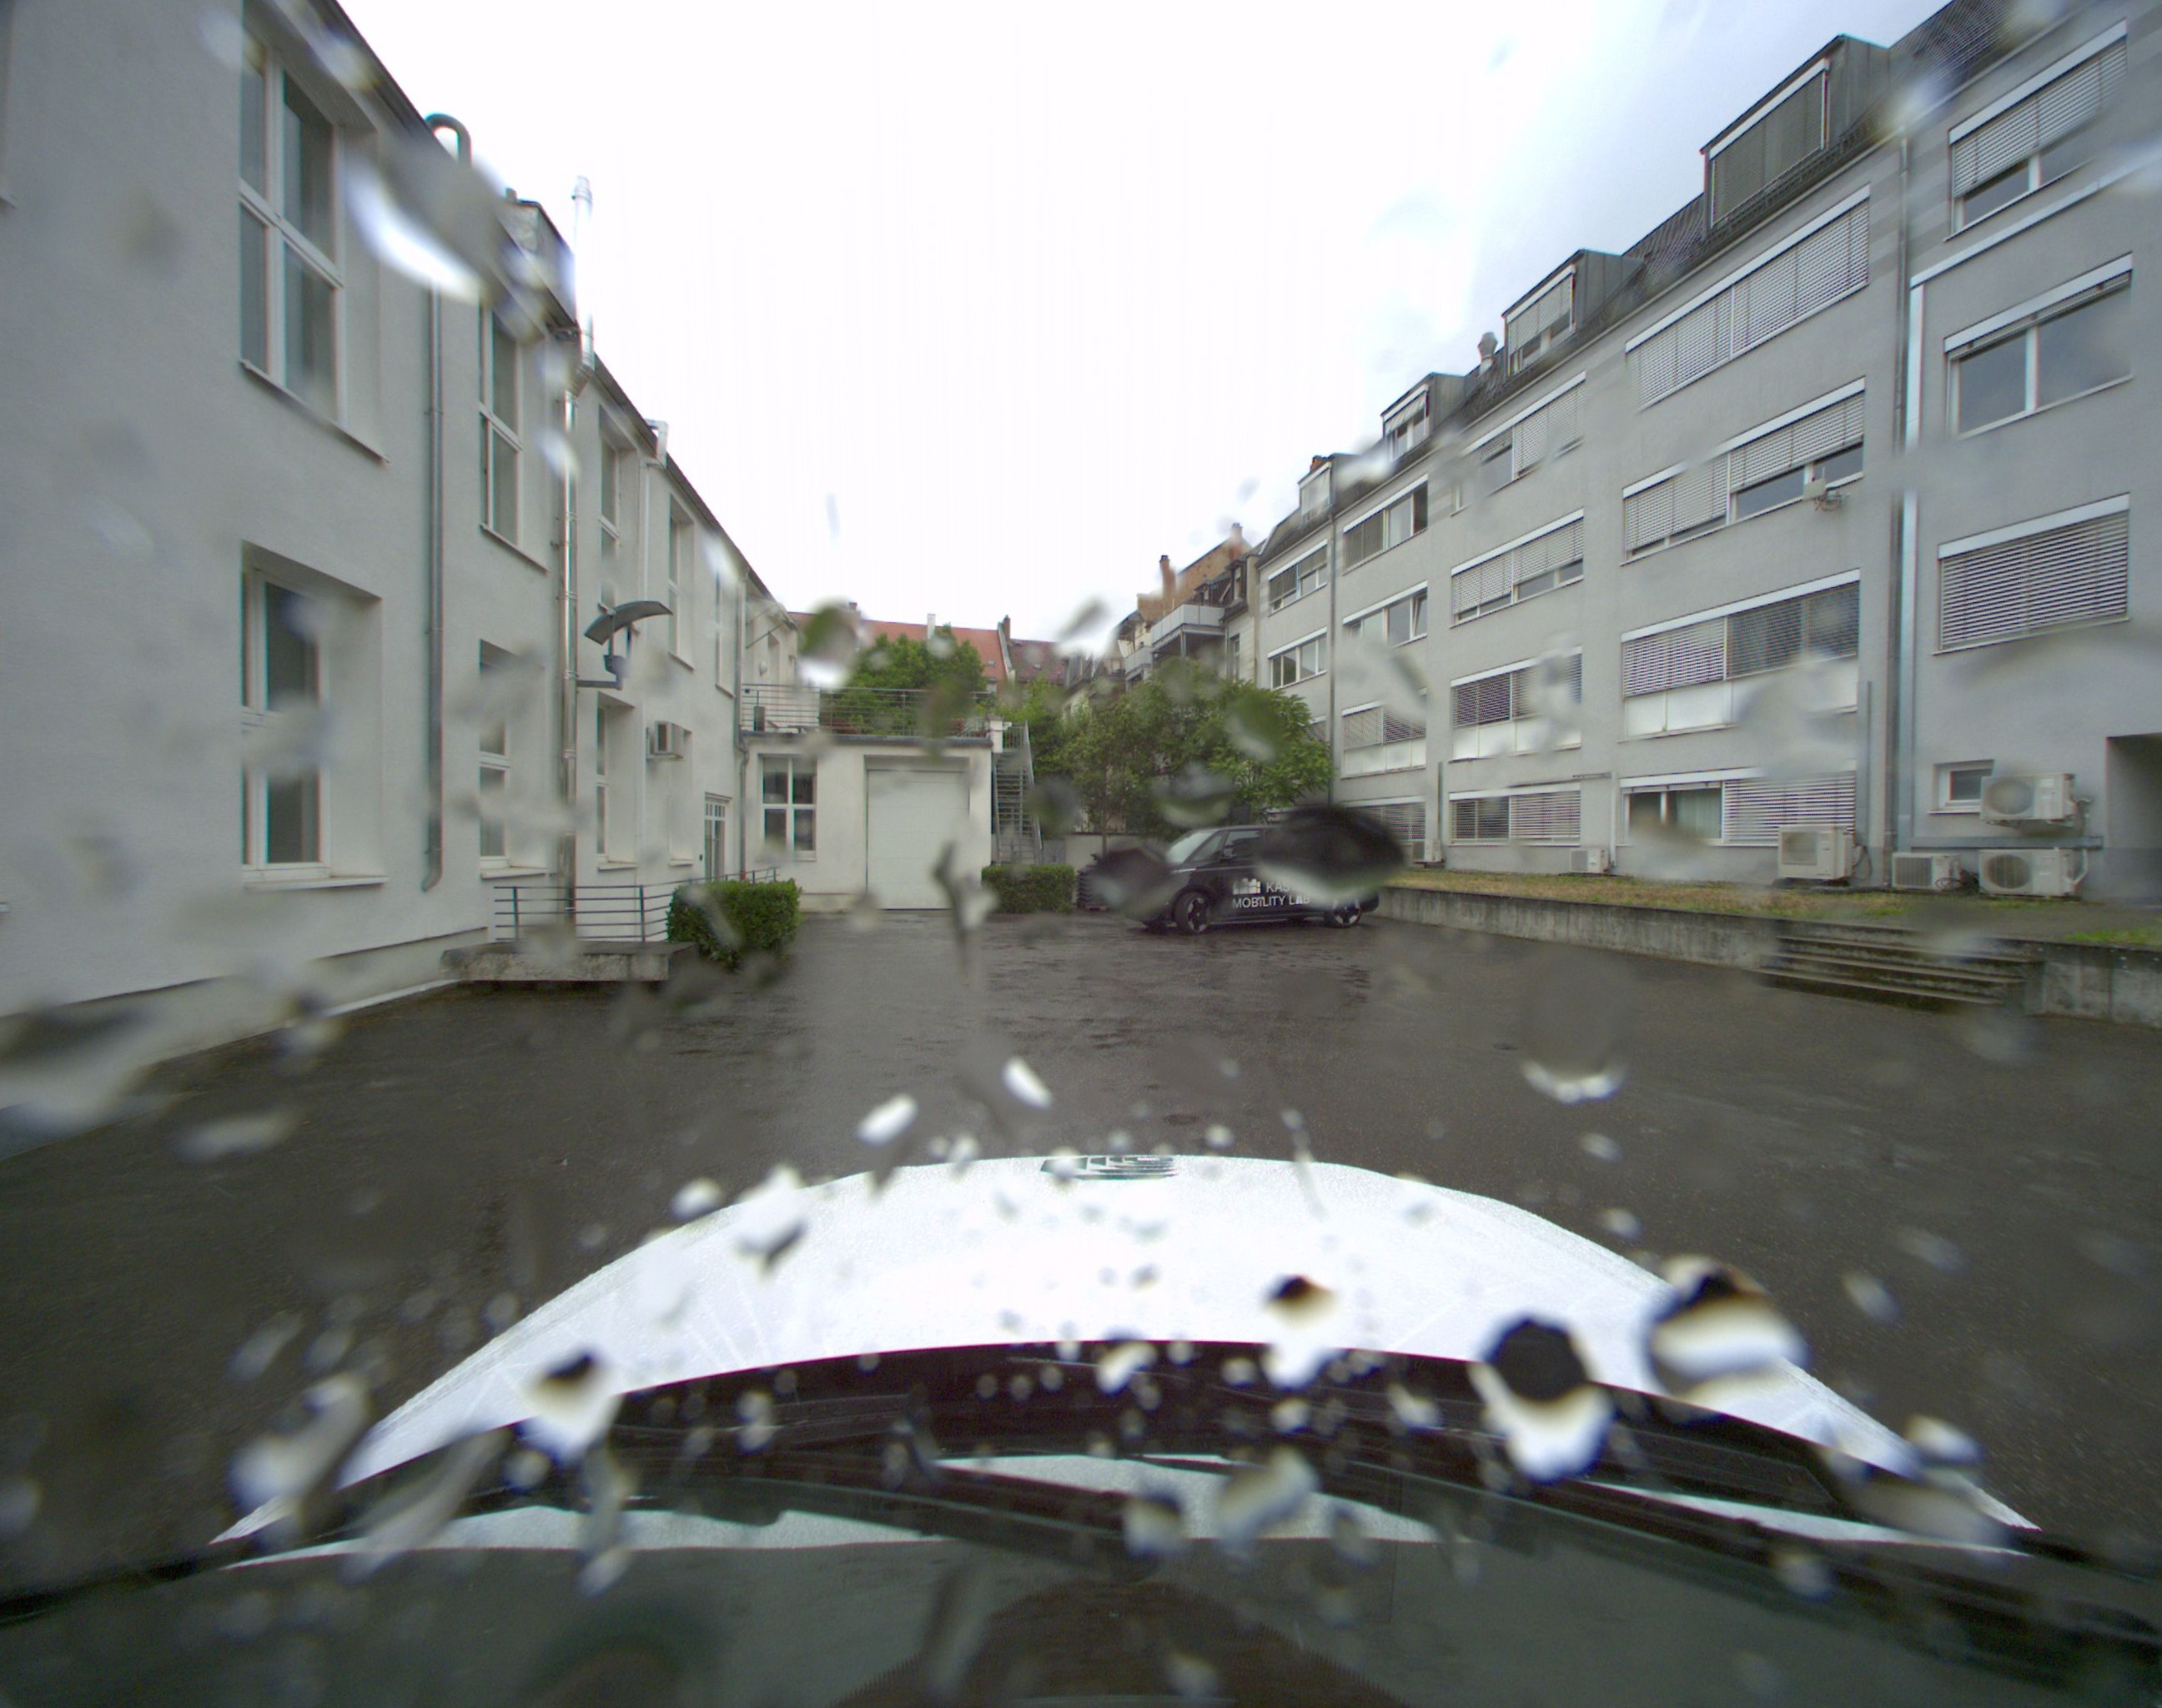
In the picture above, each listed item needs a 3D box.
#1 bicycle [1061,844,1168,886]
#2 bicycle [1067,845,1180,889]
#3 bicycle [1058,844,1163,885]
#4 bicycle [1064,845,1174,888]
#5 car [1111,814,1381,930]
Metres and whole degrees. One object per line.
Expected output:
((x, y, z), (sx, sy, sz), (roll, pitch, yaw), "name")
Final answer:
((1.036, 0.336, 24.845), (3.216, 1.242, 0.628), (0, 0, -13), "bicycle")
((1.237, 0.374, 23.491), (3.216, 1.242, 0.628), (0, 0, -13), "bicycle")
((0.931, 0.318, 25.487), (3.216, 1.242, 0.628), (0, 0, -13), "bicycle")
((1.138, 0.354, 24.182), (3.216, 1.242, 0.628), (0, 0, -13), "bicycle")
((3.005, 0.296, 15.089), (4.519, 1.897, 2.034), (0, 0, -18), "car")
